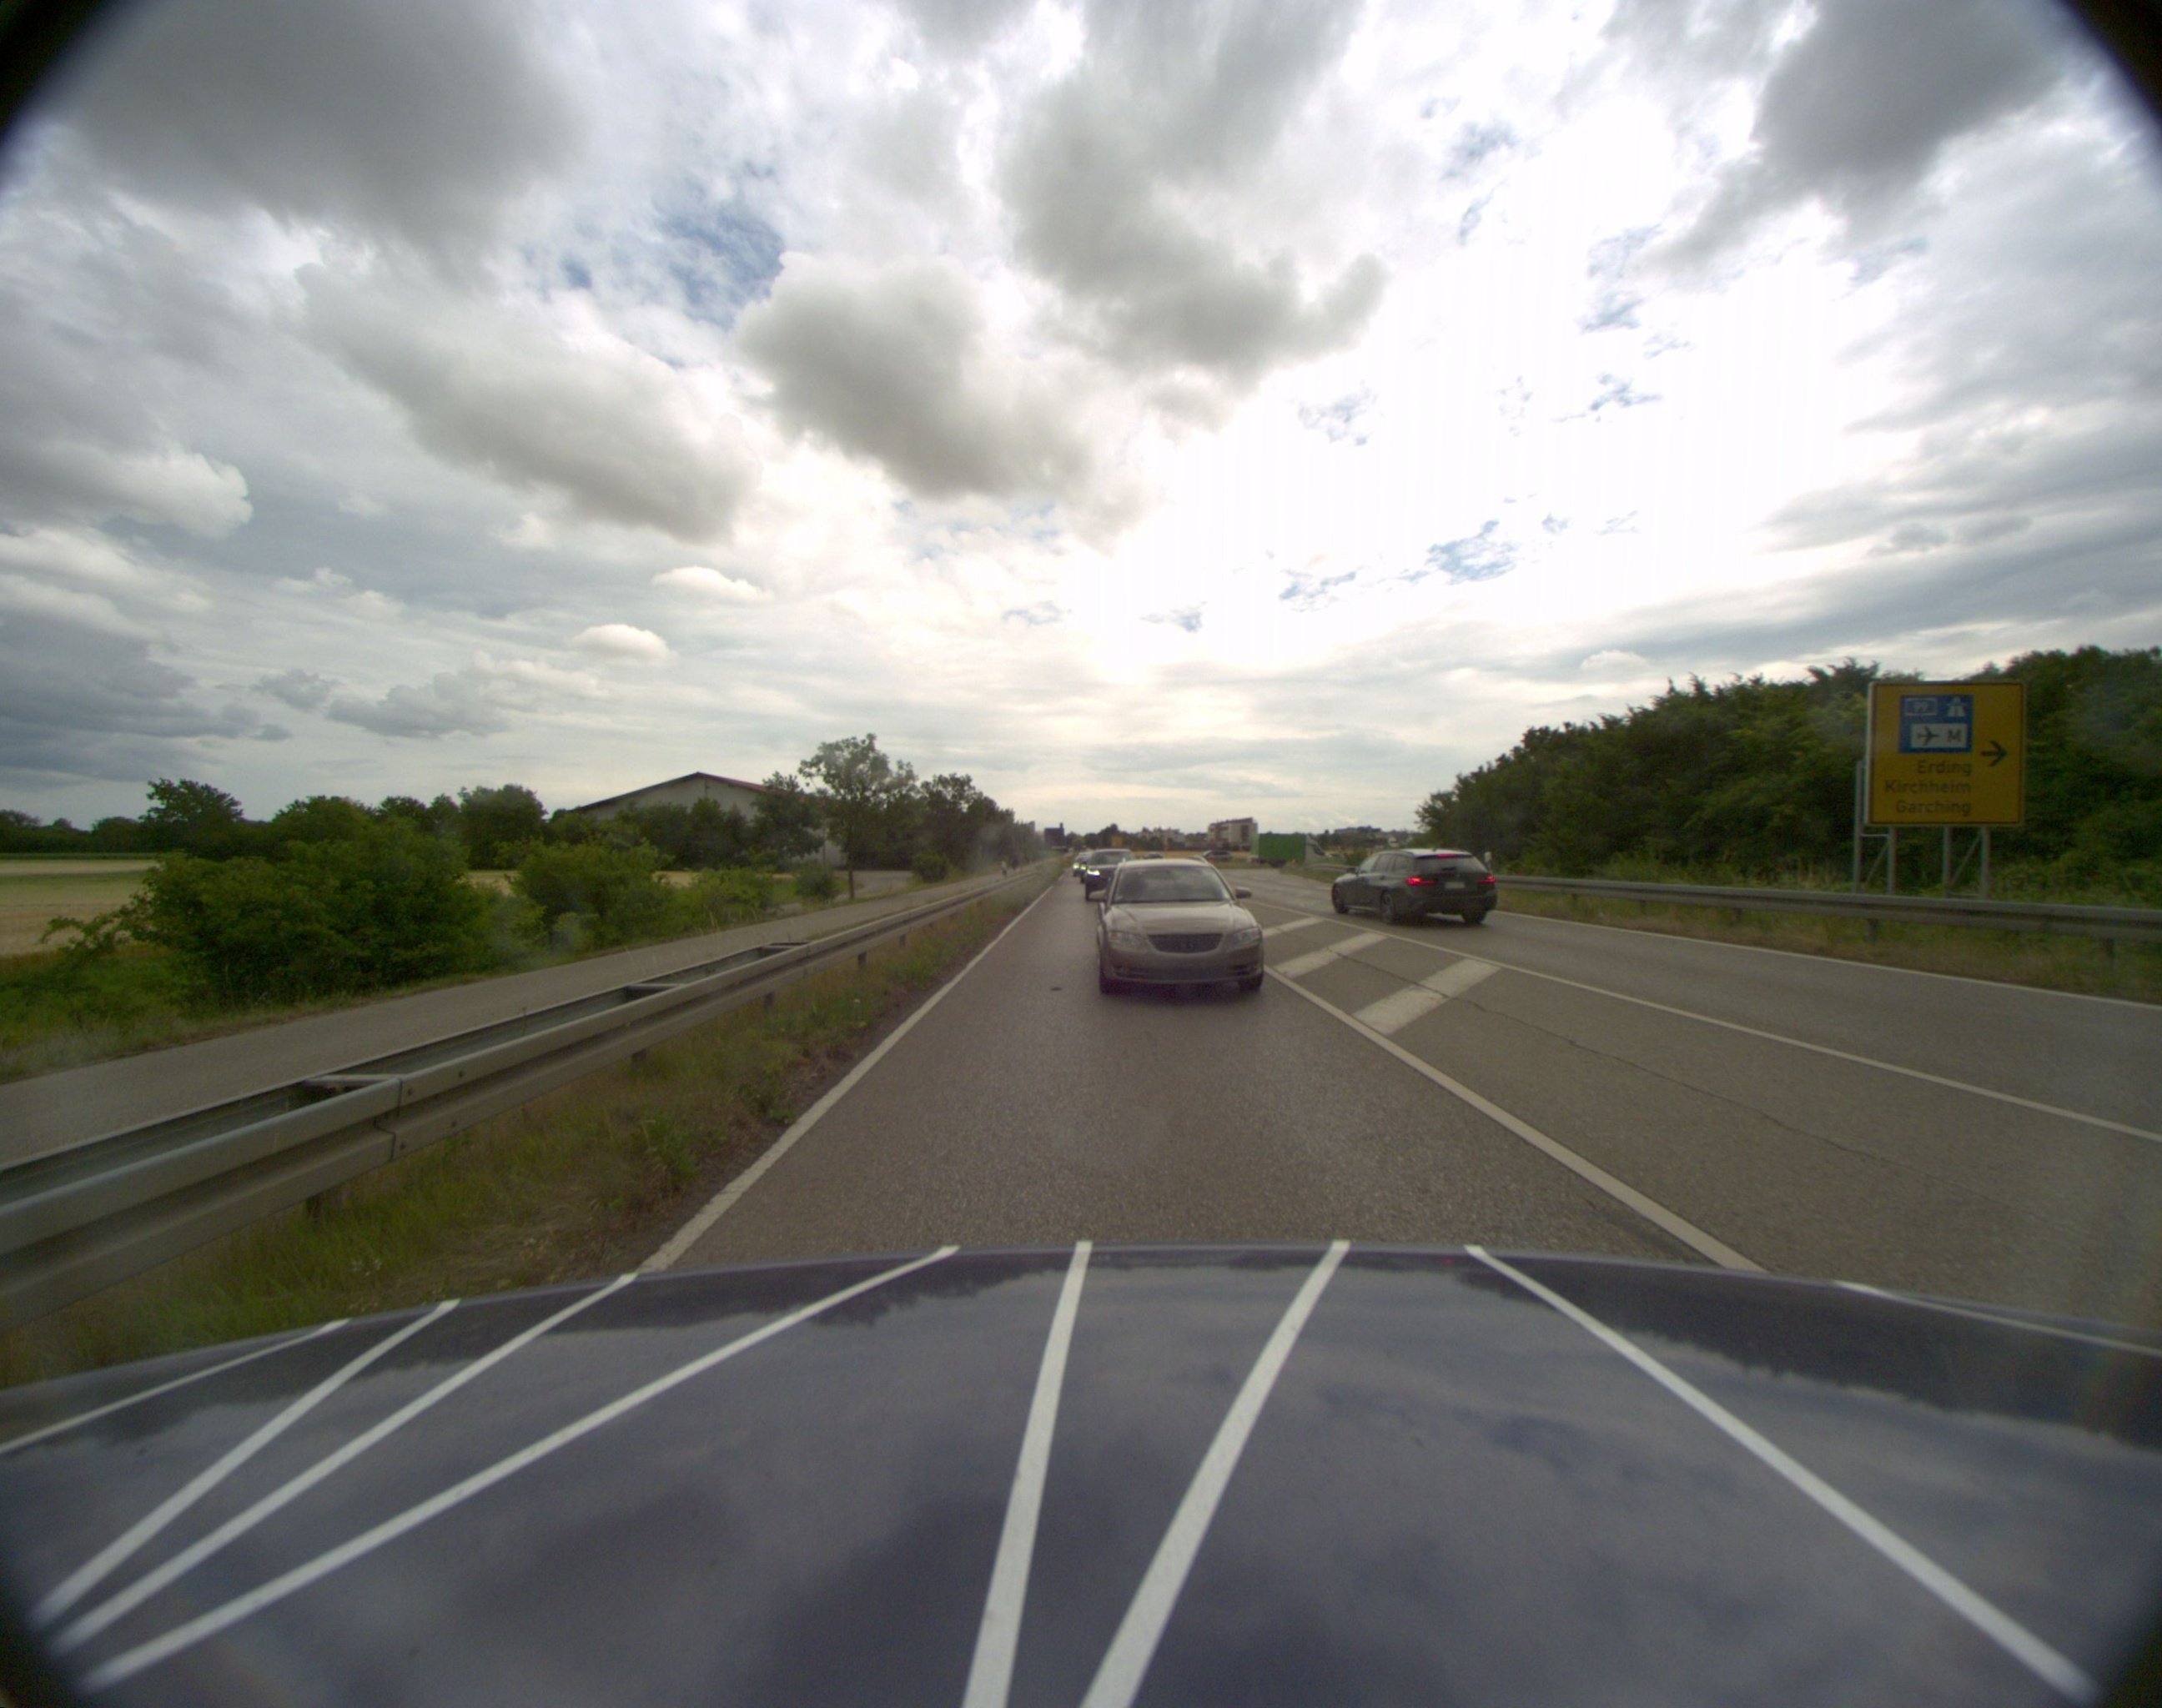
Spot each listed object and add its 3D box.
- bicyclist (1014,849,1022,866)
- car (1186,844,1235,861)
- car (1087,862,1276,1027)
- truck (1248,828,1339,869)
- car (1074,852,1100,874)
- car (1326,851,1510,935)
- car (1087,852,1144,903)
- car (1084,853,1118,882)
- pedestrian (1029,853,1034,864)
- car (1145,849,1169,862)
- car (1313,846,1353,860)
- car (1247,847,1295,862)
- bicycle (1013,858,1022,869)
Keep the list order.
[{"bbox_3d":[-5.947,0.313,71.665,0.640,1.573,0.969,-1,1,1],"label":"bicyclist"},{"bbox_3d":[13.767,-0.157,80.848,4.816,1.680,1.999,-1,1,-4],"label":"car"},{"bbox_3d":[0.963,0.874,9.241,1.730,1.436,4.204,-2,0,0],"label":"car"},{"bbox_3d":[19.947,-0.526,71.572,7.601,3.542,2.932,-2,1,-3],"label":"truck"},{"bbox_3d":[0.416,0.617,54.028,1.730,1.436,4.204,-2,0,0],"label":"car"},{"bbox_3d":[6.684,0.680,15.668,1.804,1.442,4.445,-1,1,-1],"label":"car"},{"bbox_3d":[1.107,0.739,25.963,1.730,1.534,4.204,-2,0,0],"label":"car"},{"bbox_3d":[1.069,0.694,41.935,1.730,1.478,4.204,-2,0,0],"label":"car"},{"bbox_3d":[-6.822,0.641,104.608,0.591,1.512,0.501,-2,1,7],"label":"pedestrian"},{"bbox_3d":[9.167,0.176,92.189,2.000,1.481,3.834,-1,1,-10],"label":"car"},{"bbox_3d":[26.347,-0.112,79.622,3.714,1.490,1.731,-1,1,8],"label":"car"},{"bbox_3d":[20.118,0.024,80.595,4.673,1.490,2.001,-1,1,8],"label":"car"},{"bbox_3d":[-5.942,0.889,71.695,0.640,0.972,2.072,-1,1,1],"label":"bicycle"}]
